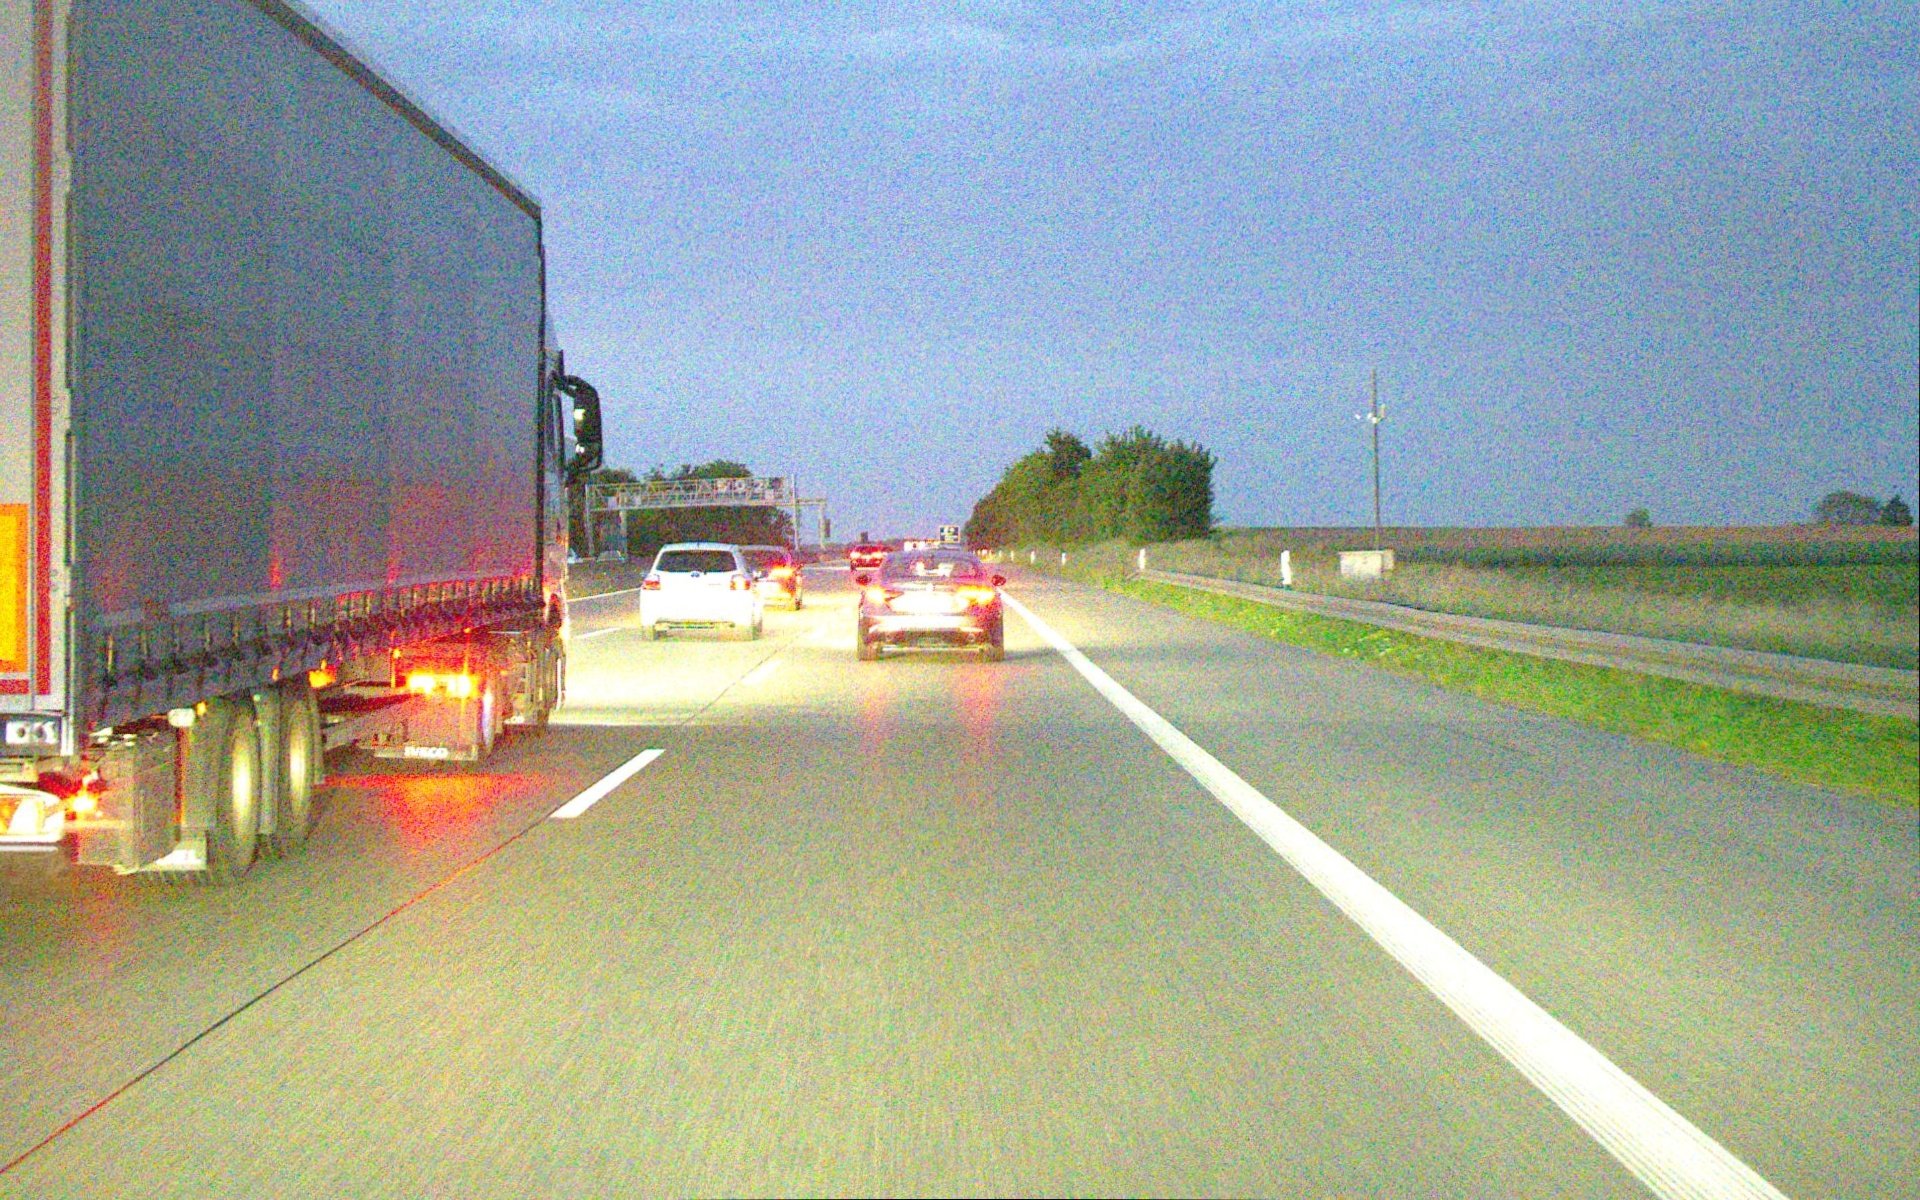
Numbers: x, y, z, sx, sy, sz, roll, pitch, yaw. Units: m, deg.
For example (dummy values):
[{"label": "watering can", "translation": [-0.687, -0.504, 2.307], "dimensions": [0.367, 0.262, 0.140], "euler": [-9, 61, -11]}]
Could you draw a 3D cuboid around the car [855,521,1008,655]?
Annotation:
[{"label": "car", "translation": [-0.372, -0.173, 44.753], "dimensions": [1.880, 1.637, 4.000], "euler": [1, 1, 0]}]

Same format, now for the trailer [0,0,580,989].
[{"label": "trailer", "translation": [-4.339, -0.814, 18.619], "dimensions": [2.794, 4.071, 14.526], "euler": [0, 1, 1]}]

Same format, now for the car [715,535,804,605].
[{"label": "car", "translation": [-4.400, -0.656, 75.875], "dimensions": [1.722, 1.466, 4.726], "euler": [1, 1, -1]}]

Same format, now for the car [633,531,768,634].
[{"label": "car", "translation": [-4.023, -0.279, 53.883], "dimensions": [1.744, 1.519, 4.414], "euler": [1, 1, 0]}]

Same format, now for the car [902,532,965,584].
[{"label": "car", "translation": [-0.822, -1.285, 105.104], "dimensions": [1.880, 1.547, 4.000], "euler": [1, 1, -1]}]

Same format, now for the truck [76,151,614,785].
[{"label": "truck", "translation": [-4.282, -0.877, 25.257], "dimensions": [2.777, 4.079, 6.103], "euler": [0, 0, 1]}]

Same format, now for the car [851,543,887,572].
[{"label": "car", "translation": [-4.989, -2.329, 188.480], "dimensions": [1.880, 1.547, 4.000], "euler": [1, 1, -1]}]
